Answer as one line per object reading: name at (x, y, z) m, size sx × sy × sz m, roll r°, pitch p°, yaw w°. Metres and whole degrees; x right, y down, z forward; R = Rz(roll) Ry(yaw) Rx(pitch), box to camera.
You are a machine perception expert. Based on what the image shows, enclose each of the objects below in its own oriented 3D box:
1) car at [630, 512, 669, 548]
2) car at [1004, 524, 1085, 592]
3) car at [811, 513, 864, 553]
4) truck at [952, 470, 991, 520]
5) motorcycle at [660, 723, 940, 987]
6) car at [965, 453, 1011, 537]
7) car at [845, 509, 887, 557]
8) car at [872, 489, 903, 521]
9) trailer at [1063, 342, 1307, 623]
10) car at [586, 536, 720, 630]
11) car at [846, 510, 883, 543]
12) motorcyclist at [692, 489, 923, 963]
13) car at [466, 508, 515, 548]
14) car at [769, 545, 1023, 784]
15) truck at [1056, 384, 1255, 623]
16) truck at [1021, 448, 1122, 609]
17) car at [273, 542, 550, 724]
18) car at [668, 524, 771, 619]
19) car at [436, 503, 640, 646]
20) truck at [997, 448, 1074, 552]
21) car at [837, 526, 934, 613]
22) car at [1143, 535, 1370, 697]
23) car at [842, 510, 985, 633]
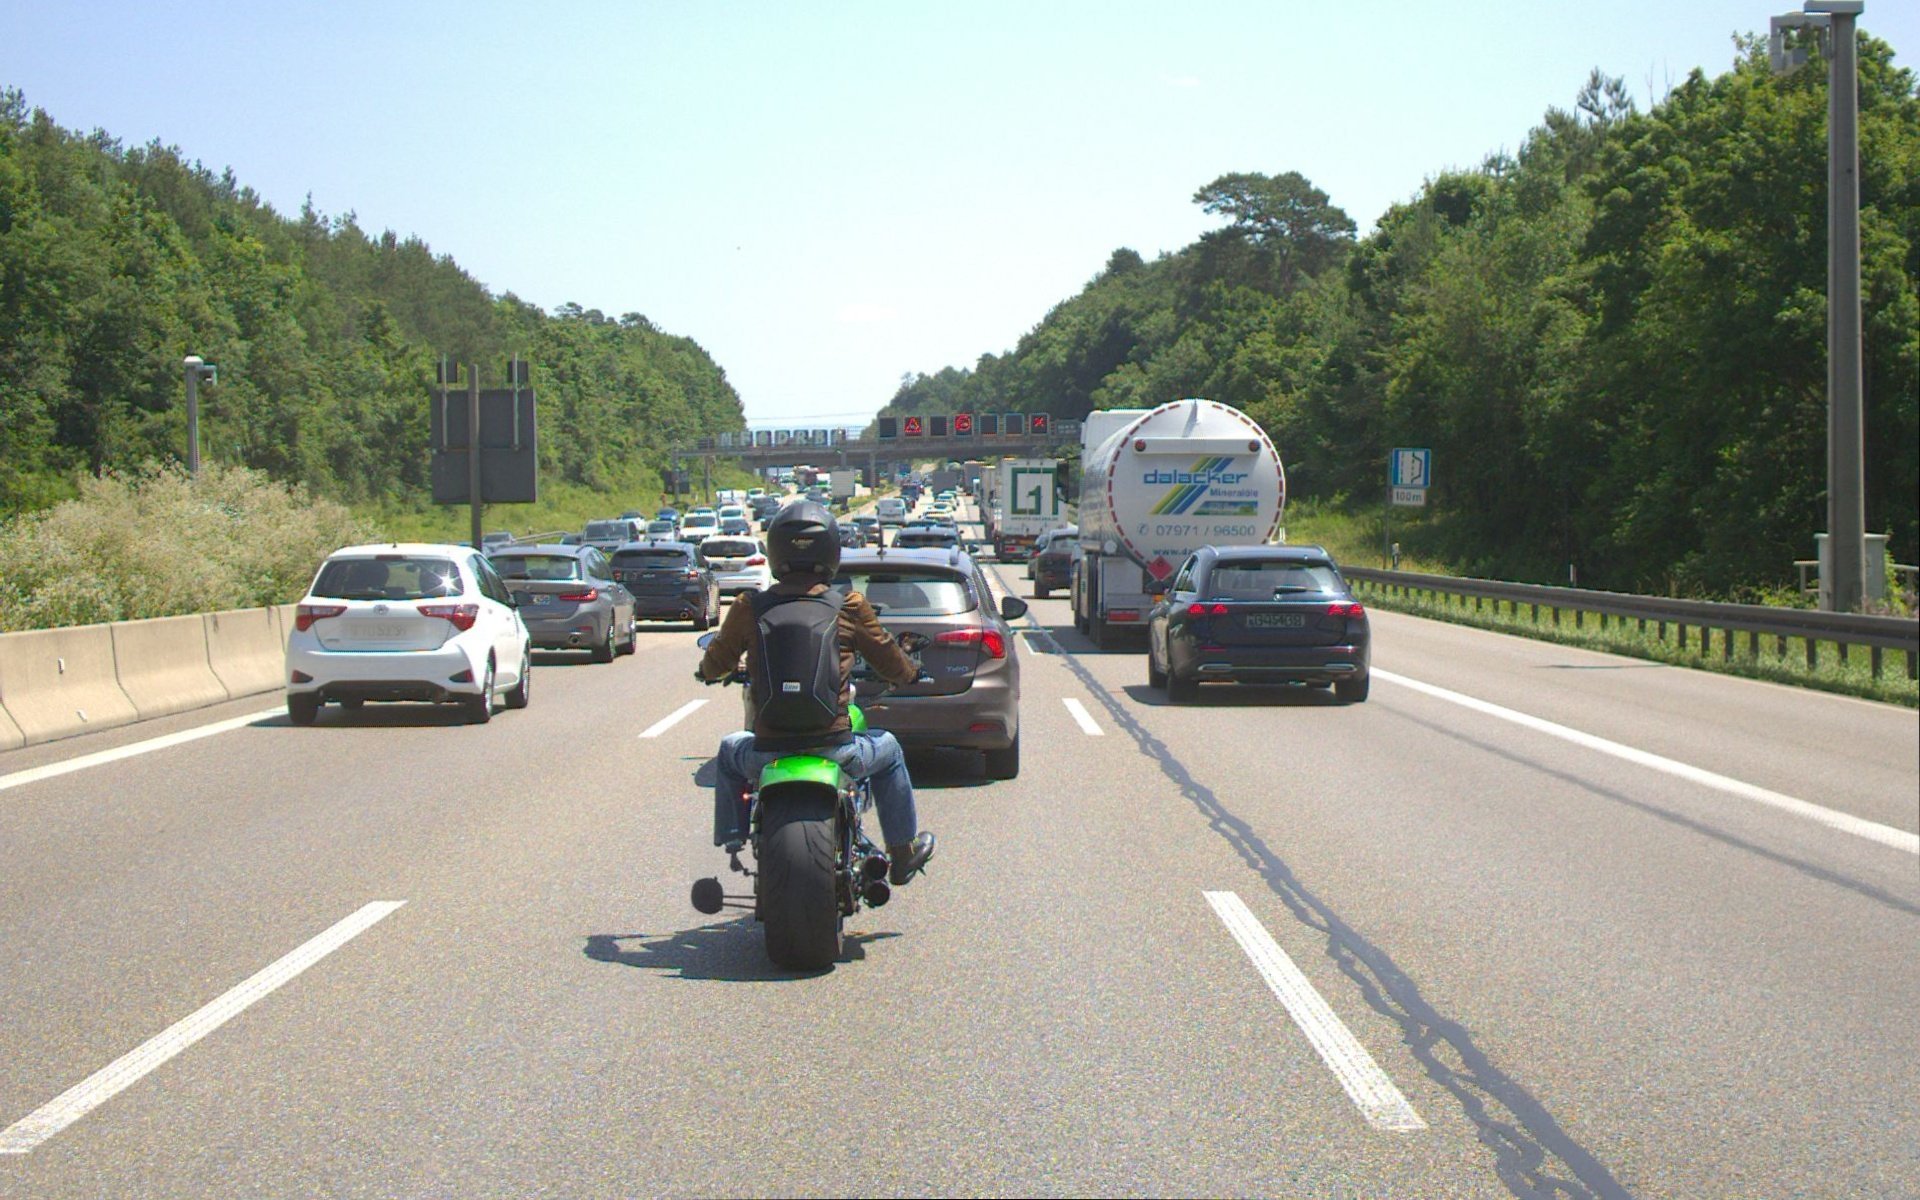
car at (-15.872, -3.594, 176.079) m, size 1.696 × 1.807 × 4.000 m, roll 0°, pitch 1°, yaw -1°
car at (1.948, -0.959, 80.224) m, size 1.776 × 1.522 × 4.000 m, roll 1°, pitch 0°, yaw 0°
car at (-4.641, -2.532, 130.568) m, size 1.764 × 1.437 × 4.000 m, roll 2°, pitch 1°, yaw 0°
truck at (0.816, -7.559, 248.769) m, size 2.696 × 3.394 × 10.478 m, roll -1°, pitch 0°, yaw 0°
motorcycle at (-0.548, 0.906, 12.792) m, size 0.936 × 0.790 × 2.299 m, roll 1°, pitch 0°, yaw 0°
car at (1.382, -5.252, 173.796) m, size 2.167 × 3.879 × 9.330 m, roll 1°, pitch 0°, yaw 0°
car at (-4.032, -2.866, 148.014) m, size 1.660 × 1.971 × 4.000 m, roll 0°, pitch 0°, yaw 0°
car at (-4.830, -6.316, 228.653) m, size 1.993 × 2.007 × 4.000 m, roll -1°, pitch 0°, yaw 0°
trailer at (3.107, -1.512, 50.423) m, size 2.828 × 3.658 × 10.732 m, roll 1°, pitch 0°, yaw 0°
car at (-5.000, -0.256, 56.363) m, size 1.993 × 1.459 × 4.000 m, roll 1°, pitch 0°, yaw -2°
car at (-4.727, -3.633, 170.571) m, size 1.660 × 1.594 × 4.000 m, roll 0°, pitch 0°, yaw 0°
motorcyclist at (-0.549, 0.451, 12.754) m, size 0.799 × 1.682 × 1.016 m, roll 1°, pitch 0°, yaw 0°
car at (-23.441, -3.594, 171.729) m, size 1.993 × 2.007 × 4.000 m, roll 0°, pitch 1°, yaw -1°
car at (-0.395, 0.377, 22.971) m, size 1.541 × 1.445 × 4.000 m, roll 1°, pitch 1°, yaw 0°
truck at (3.098, -1.467, 56.040) m, size 2.828 × 3.659 × 6.429 m, roll 1°, pitch 0°, yaw 0°
truck at (3.194, -2.096, 100.891) m, size 2.388 × 4.449 × 10.870 m, roll 0°, pitch 1°, yaw -1°
car at (-4.696, 0.233, 29.920) m, size 1.776 × 1.406 × 4.000 m, roll 1°, pitch 2°, yaw 0°
car at (-5.202, -0.590, 74.790) m, size 1.993 × 2.007 × 4.000 m, roll 1°, pitch 0°, yaw -1°
car at (-5.193, -0.287, 42.836) m, size 1.993 × 1.678 × 4.330 m, roll 1°, pitch 0°, yaw 0°
truck at (3.028, -3.900, 135.751) m, size 2.854 × 3.808 × 7.187 m, roll 0°, pitch 0°, yaw 3°
car at (-1.569, -0.627, 72.734) m, size 1.993 × 1.769 × 4.000 m, roll 1°, pitch 0°, yaw -1°
car at (2.803, 0.158, 33.395) m, size 1.792 × 1.453 × 4.624 m, roll 1°, pitch 0°, yaw 0°
car at (-0.686, -0.393, 50.146) m, size 1.993 × 1.705 × 4.000 m, roll 1°, pitch 0°, yaw -1°
